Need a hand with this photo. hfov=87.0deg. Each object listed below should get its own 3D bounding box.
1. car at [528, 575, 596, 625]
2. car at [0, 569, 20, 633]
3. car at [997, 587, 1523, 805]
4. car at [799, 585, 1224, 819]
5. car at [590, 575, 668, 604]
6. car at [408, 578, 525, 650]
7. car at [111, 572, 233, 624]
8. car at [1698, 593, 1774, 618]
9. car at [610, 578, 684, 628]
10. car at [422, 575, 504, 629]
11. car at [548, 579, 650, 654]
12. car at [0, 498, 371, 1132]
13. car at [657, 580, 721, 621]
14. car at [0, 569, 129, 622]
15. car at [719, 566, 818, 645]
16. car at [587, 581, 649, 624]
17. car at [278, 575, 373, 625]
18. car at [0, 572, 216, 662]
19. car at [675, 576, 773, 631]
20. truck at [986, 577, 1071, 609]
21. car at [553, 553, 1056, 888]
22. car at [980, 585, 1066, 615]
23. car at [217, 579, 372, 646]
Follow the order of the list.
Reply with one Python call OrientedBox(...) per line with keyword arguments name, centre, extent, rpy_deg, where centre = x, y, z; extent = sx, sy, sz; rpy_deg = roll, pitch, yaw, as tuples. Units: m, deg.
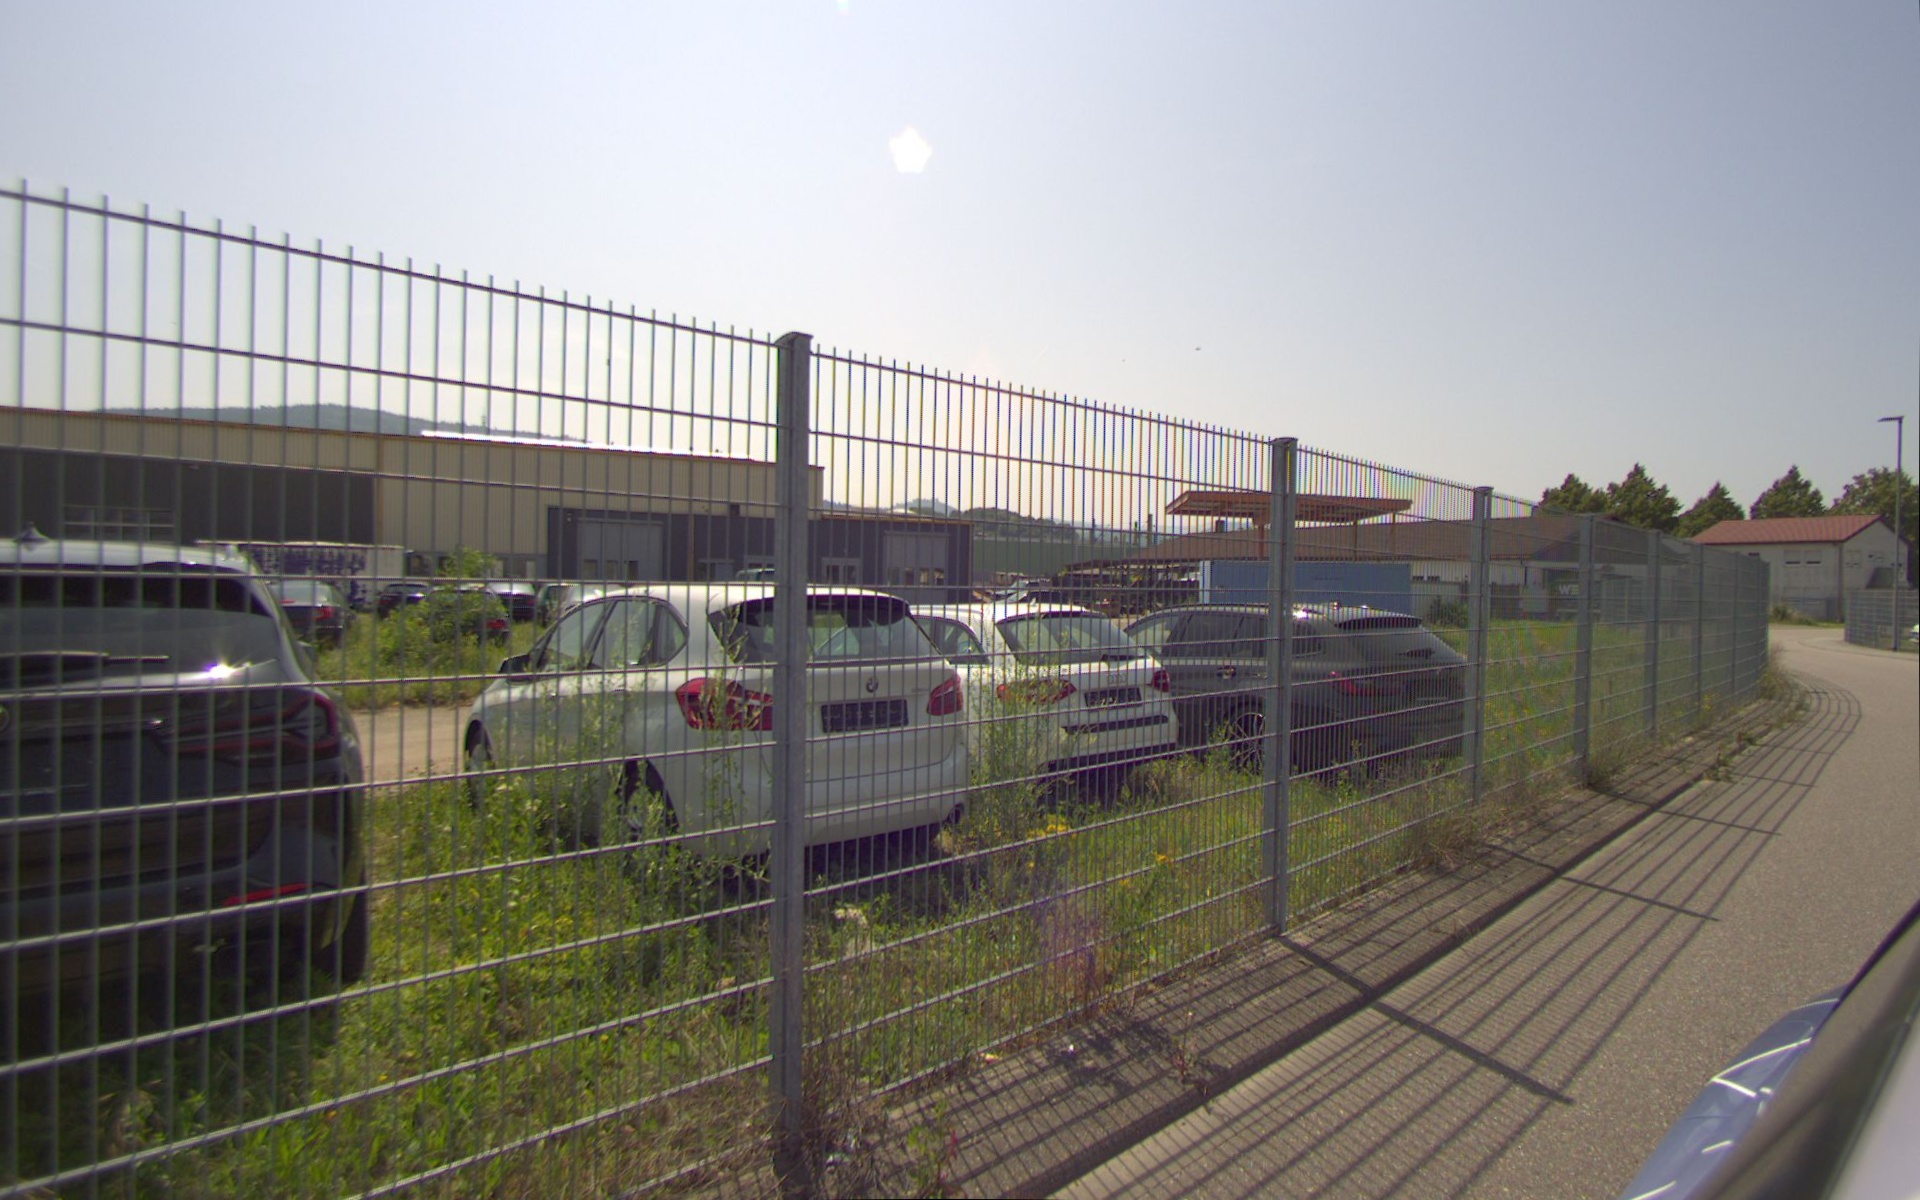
OrientedBox(name="car", centre=(-12.294, -0.051, 31.184), extent=(1.803, 1.395, 4.399), rpy_deg=(1, 1, -22))
OrientedBox(name="car", centre=(-18.128, 0.058, 17.308), extent=(1.544, 1.198, 4.399), rpy_deg=(1, 1, -22))
OrientedBox(name="car", centre=(2.278, 0.609, 8.902), extent=(1.685, 1.334, 4.393), rpy_deg=(1, 1, -33))
OrientedBox(name="car", centre=(0.188, 0.598, 7.976), extent=(1.609, 1.334, 3.479), rpy_deg=(1, 1, -33))
OrientedBox(name="car", centre=(-16.852, -0.521, 51.533), extent=(3.449, 1.395, 1.845), rpy_deg=(1, 1, -29))
OrientedBox(name="car", centre=(-9.686, 0.217, 20.157), extent=(1.803, 1.221, 4.399), rpy_deg=(1, 1, -22))
OrientedBox(name="car", centre=(-23.583, -0.095, 30.476), extent=(1.933, 1.403, 4.398), rpy_deg=(1, 1, -25))
OrientedBox(name="car", centre=(51.615, 0.362, 67.384), extent=(1.550, 1.411, 3.654), rpy_deg=(1, 4, -28))
OrientedBox(name="car", centre=(-9.820, 0.059, 31.557), extent=(1.803, 1.395, 4.399), rpy_deg=(1, 1, -22))
OrientedBox(name="car", centre=(-14.305, 0.009, 29.319), extent=(1.803, 1.395, 4.399), rpy_deg=(1, 1, -22))
OrientedBox(name="car", centre=(-7.680, 0.272, 21.298), extent=(1.803, 1.362, 4.399), rpy_deg=(1, 1, -22))
OrientedBox(name="car", centre=(-3.805, 0.482, 4.252), extent=(1.662, 1.623, 4.306), rpy_deg=(1, 1, -39))
OrientedBox(name="car", centre=(-10.506, -0.018, 39.014), extent=(1.803, 1.395, 4.399), rpy_deg=(1, 1, -22))
OrientedBox(name="car", centre=(-25.005, -0.167, 28.087), extent=(1.933, 1.339, 4.398), rpy_deg=(1, 1, -25))
OrientedBox(name="car", centre=(-5.381, 0.082, 28.037), extent=(1.803, 2.006, 4.399), rpy_deg=(1, 1, -22))
OrientedBox(name="car", centre=(-12.262, 0.042, 36.154), extent=(1.803, 1.382, 4.399), rpy_deg=(1, 1, -22))
OrientedBox(name="car", centre=(-19.877, -0.040, 31.887), extent=(1.803, 1.395, 4.399), rpy_deg=(1, 1, -22))
OrientedBox(name="car", centre=(-14.386, 0.210, 17.156), extent=(1.839, 1.291, 4.399), rpy_deg=(1, 1, -22))
OrientedBox(name="car", centre=(-5.451, 0.043, 23.111), extent=(1.636, 1.122, 3.382), rpy_deg=(1, 1, -22))
OrientedBox(name="truck", centre=(4.129, -0.417, 61.379), extent=(4.700, 1.820, 2.065), rpy_deg=(1, 1, -20))
OrientedBox(name="car", centre=(-1.169, 0.461, 6.159), extent=(1.489, 1.435, 3.474), rpy_deg=(1, 1, -38))
OrientedBox(name="car", centre=(3.162, -0.007, 50.816), extent=(3.916, 1.404, 1.678), rpy_deg=(0, 1, -23))
OrientedBox(name="car", centre=(-12.211, 0.179, 18.840), extent=(1.585, 1.046, 4.399), rpy_deg=(1, 1, -22))
